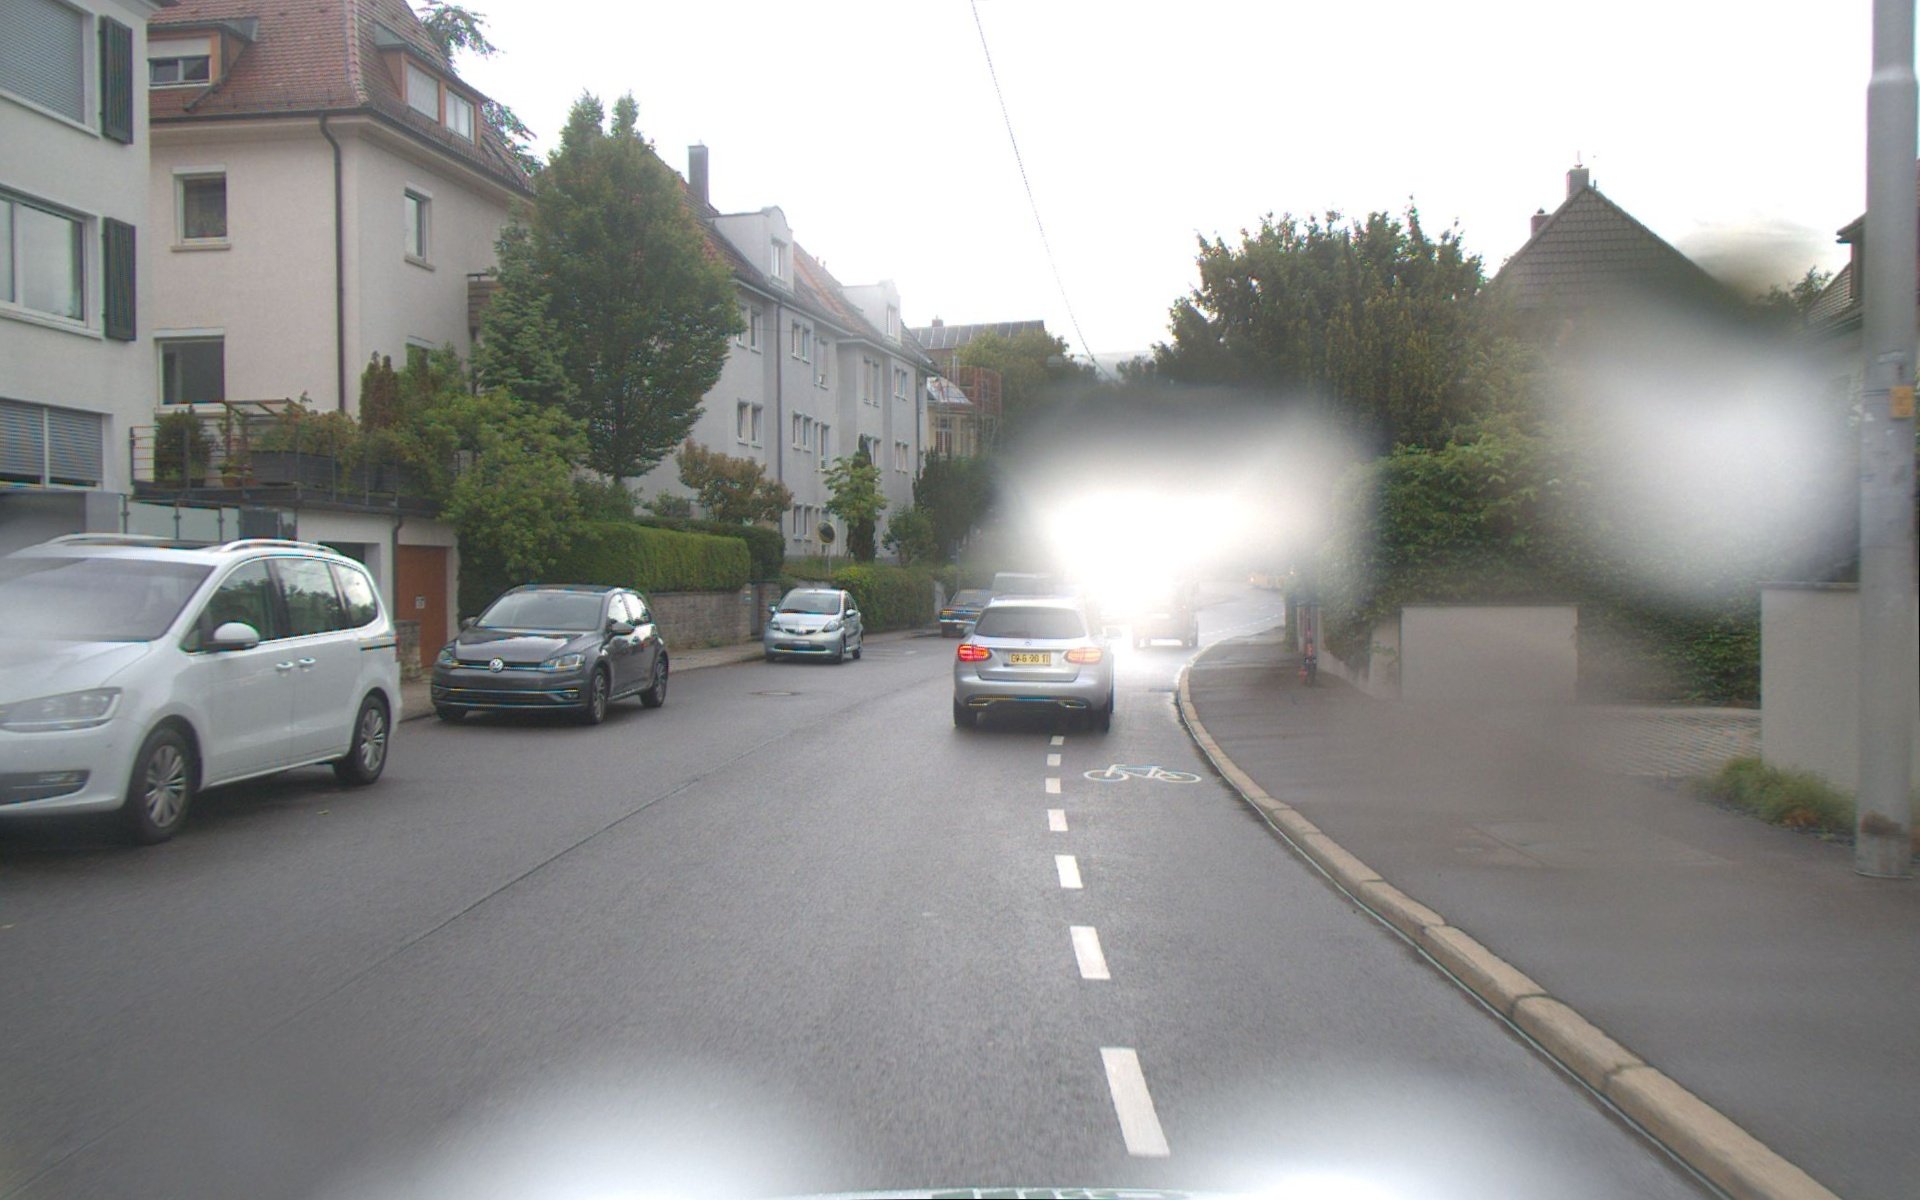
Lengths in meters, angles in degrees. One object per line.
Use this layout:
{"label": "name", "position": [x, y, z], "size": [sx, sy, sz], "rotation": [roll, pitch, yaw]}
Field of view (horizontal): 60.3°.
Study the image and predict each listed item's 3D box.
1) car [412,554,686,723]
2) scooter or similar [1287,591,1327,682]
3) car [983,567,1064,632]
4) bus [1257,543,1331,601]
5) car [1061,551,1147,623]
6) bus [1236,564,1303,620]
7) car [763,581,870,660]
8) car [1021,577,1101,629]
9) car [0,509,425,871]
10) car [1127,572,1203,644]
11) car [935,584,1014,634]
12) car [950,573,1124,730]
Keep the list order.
{"label": "car", "position": [-4.514, 0.360, 18.821], "size": [1.754, 1.608, 4.141], "rotation": [3, 1, 4]}
{"label": "scooter or similar", "position": [5.284, 0.542, 25.231], "size": [0.440, 1.330, 1.482], "rotation": [-1, 0, 6]}
{"label": "car", "position": [2.240, -0.013, 57.118], "size": [1.790, 2.092, 5.014], "rotation": [2, 0, 14]}
{"label": "bus", "position": [23.634, -2.071, 117.619], "size": [2.869, 3.714, 10.167], "rotation": [1, 3, -2]}
{"label": "car", "position": [6.191, -0.619, 70.271], "size": [2.340, 2.820, 6.536], "rotation": [2, 2, 17]}
{"label": "bus", "position": [23.412, -0.672, 125.558], "size": [2.869, 3.714, 10.302], "rotation": [1, 3, -1]}
{"label": "car", "position": [-2.919, 0.397, 34.196], "size": [1.571, 1.512, 3.489], "rotation": [1, 0, 5]}
{"label": "car", "position": [3.875, 0.071, 62.600], "size": [1.952, 1.717, 4.680], "rotation": [2, 3, 17]}
{"label": "car", "position": [-5.197, 0.353, 10.399], "size": [1.952, 1.731, 4.740], "rotation": [3, 1, 1]}
{"label": "car", "position": [5.924, 0.225, 47.490], "size": [1.803, 1.937, 4.003], "rotation": [1, 0, 12]}
{"label": "car", "position": [0.491, 0.250, 51.583], "size": [1.608, 1.442, 4.617], "rotation": [2, 1, 11]}
{"label": "car", "position": [0.983, 0.506, 19.339], "size": [1.778, 1.583, 4.003], "rotation": [2, 1, 5]}
